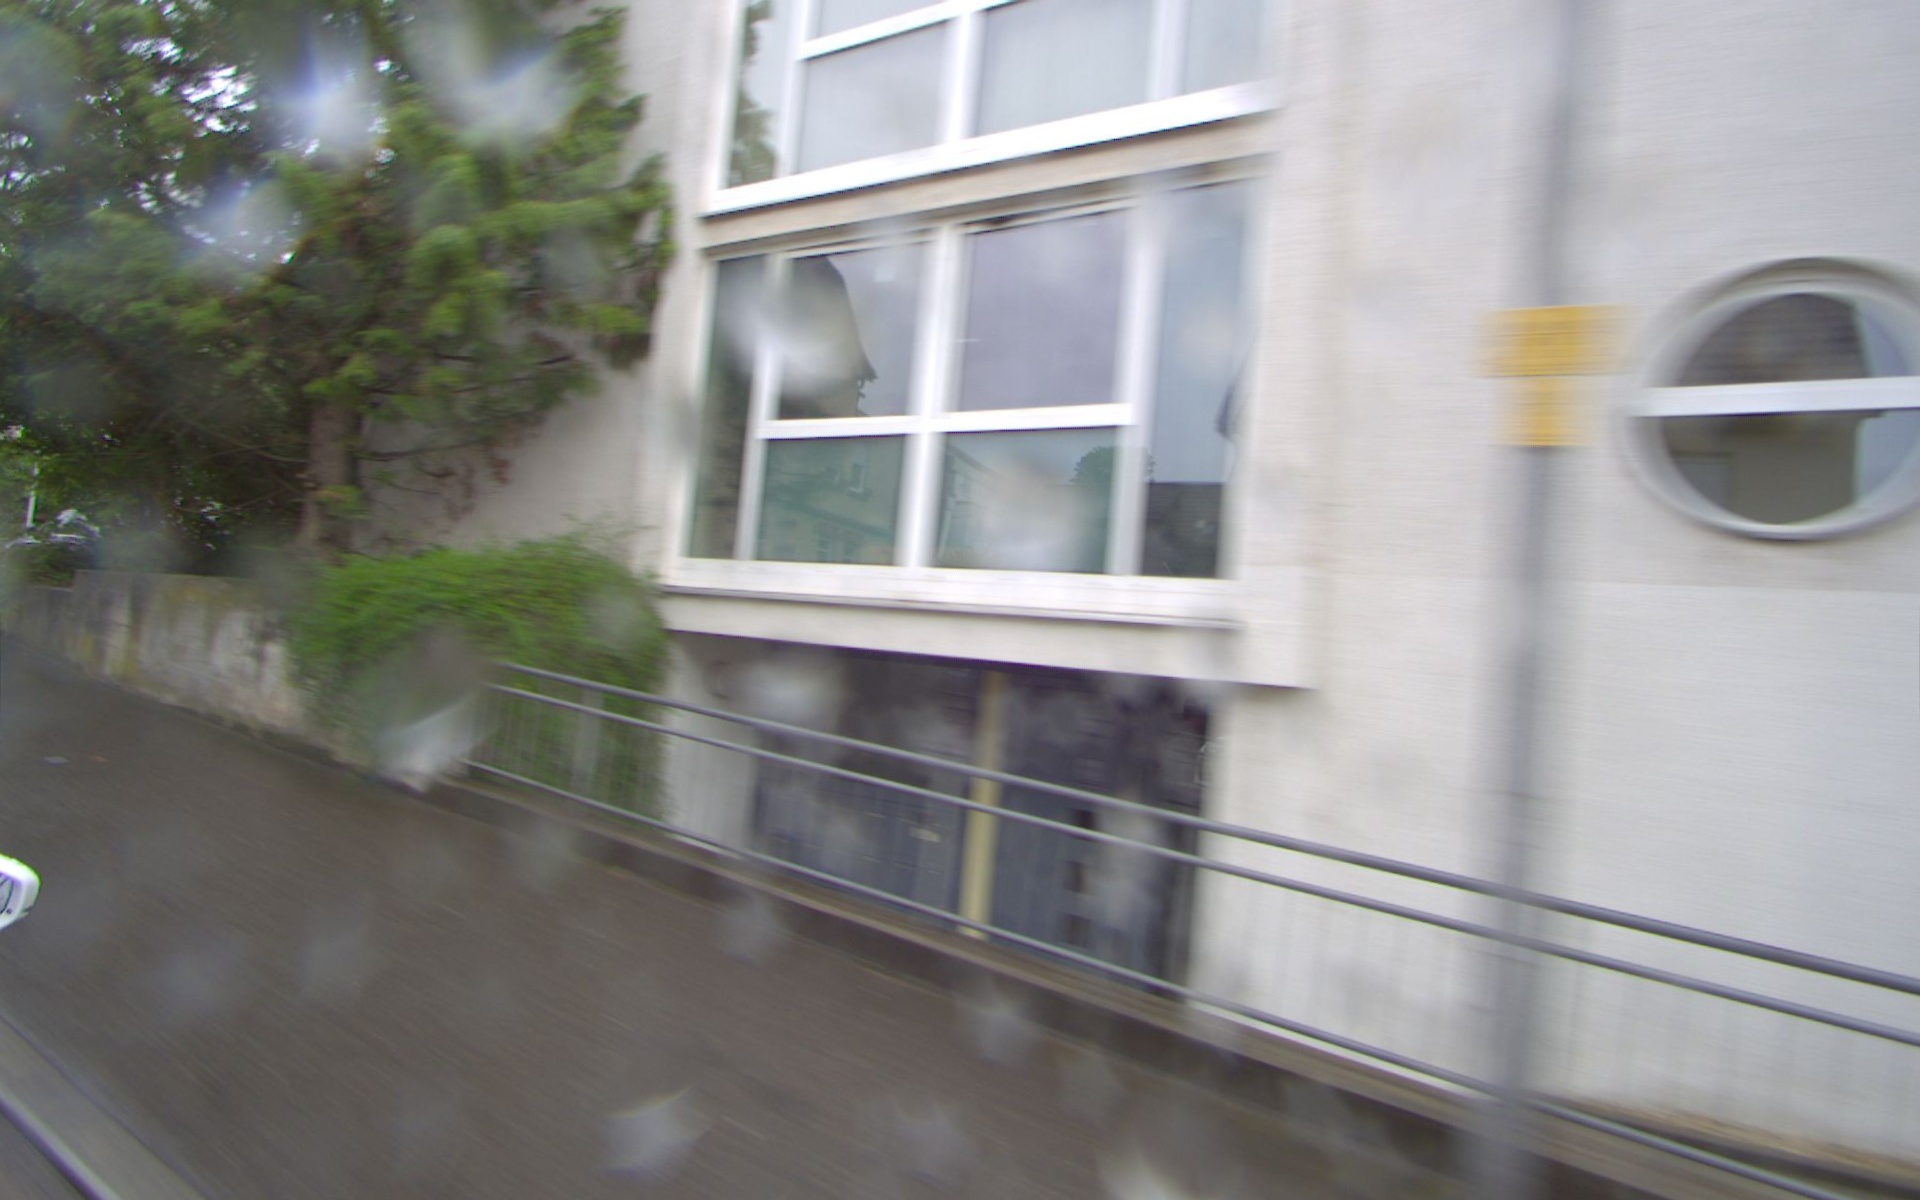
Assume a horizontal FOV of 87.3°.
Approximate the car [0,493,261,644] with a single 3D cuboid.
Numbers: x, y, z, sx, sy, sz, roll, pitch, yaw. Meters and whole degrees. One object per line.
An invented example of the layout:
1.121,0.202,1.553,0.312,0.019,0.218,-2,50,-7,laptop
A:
-12.195,-0.500,14.487,4.653,1.586,1.785,6,-4,34,car
